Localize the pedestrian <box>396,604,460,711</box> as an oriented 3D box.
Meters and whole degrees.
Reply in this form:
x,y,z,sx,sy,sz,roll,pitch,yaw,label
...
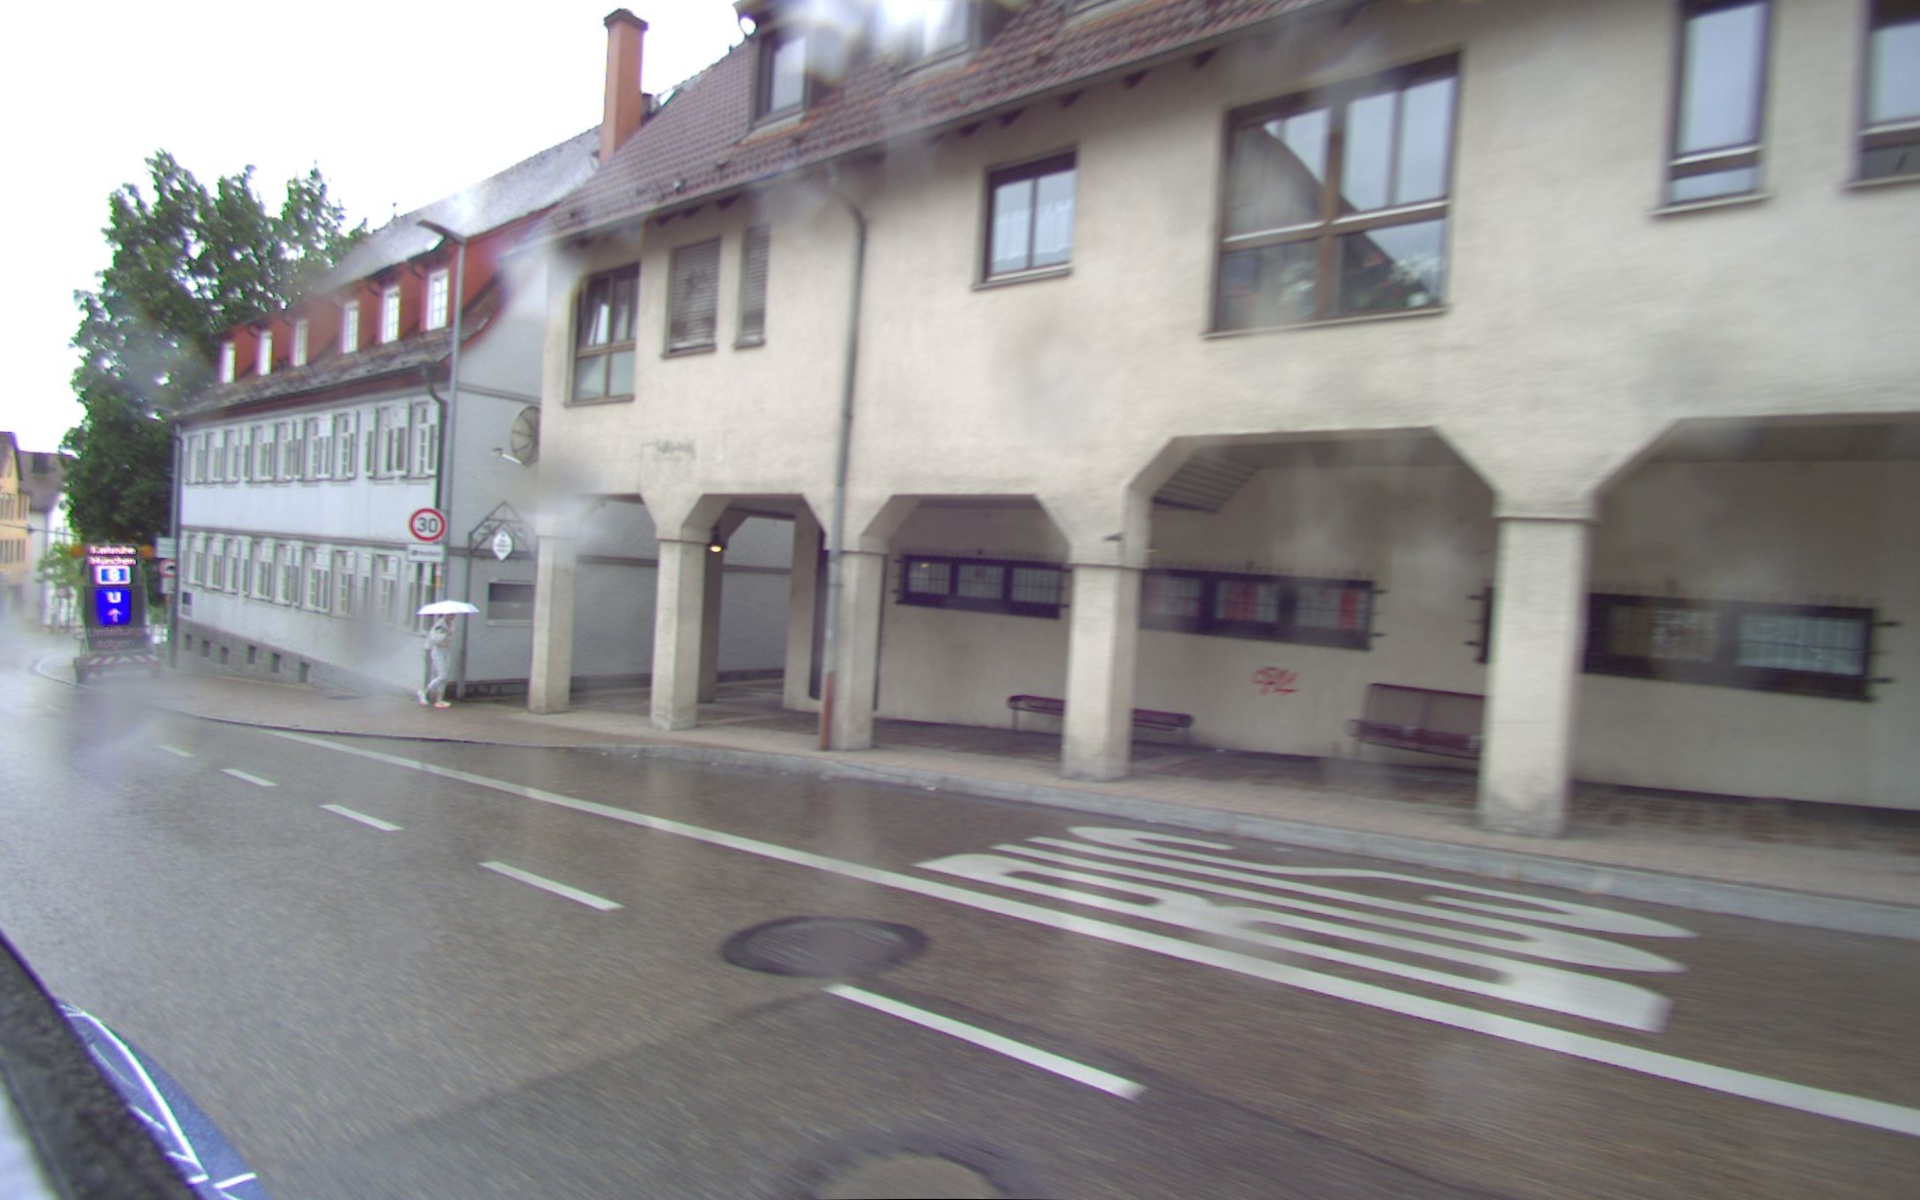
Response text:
x,y,z,sx,sy,sz,roll,pitch,yaw,label
-9.055,0.954,17.224,0.733,1.753,0.682,-1,0,35,pedestrian

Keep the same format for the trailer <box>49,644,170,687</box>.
x,y,z,sx,sy,sz,roll,pitch,yaw,label
-22.870,1.716,27.155,4.477,0.912,1.972,-1,-1,43,trailer
